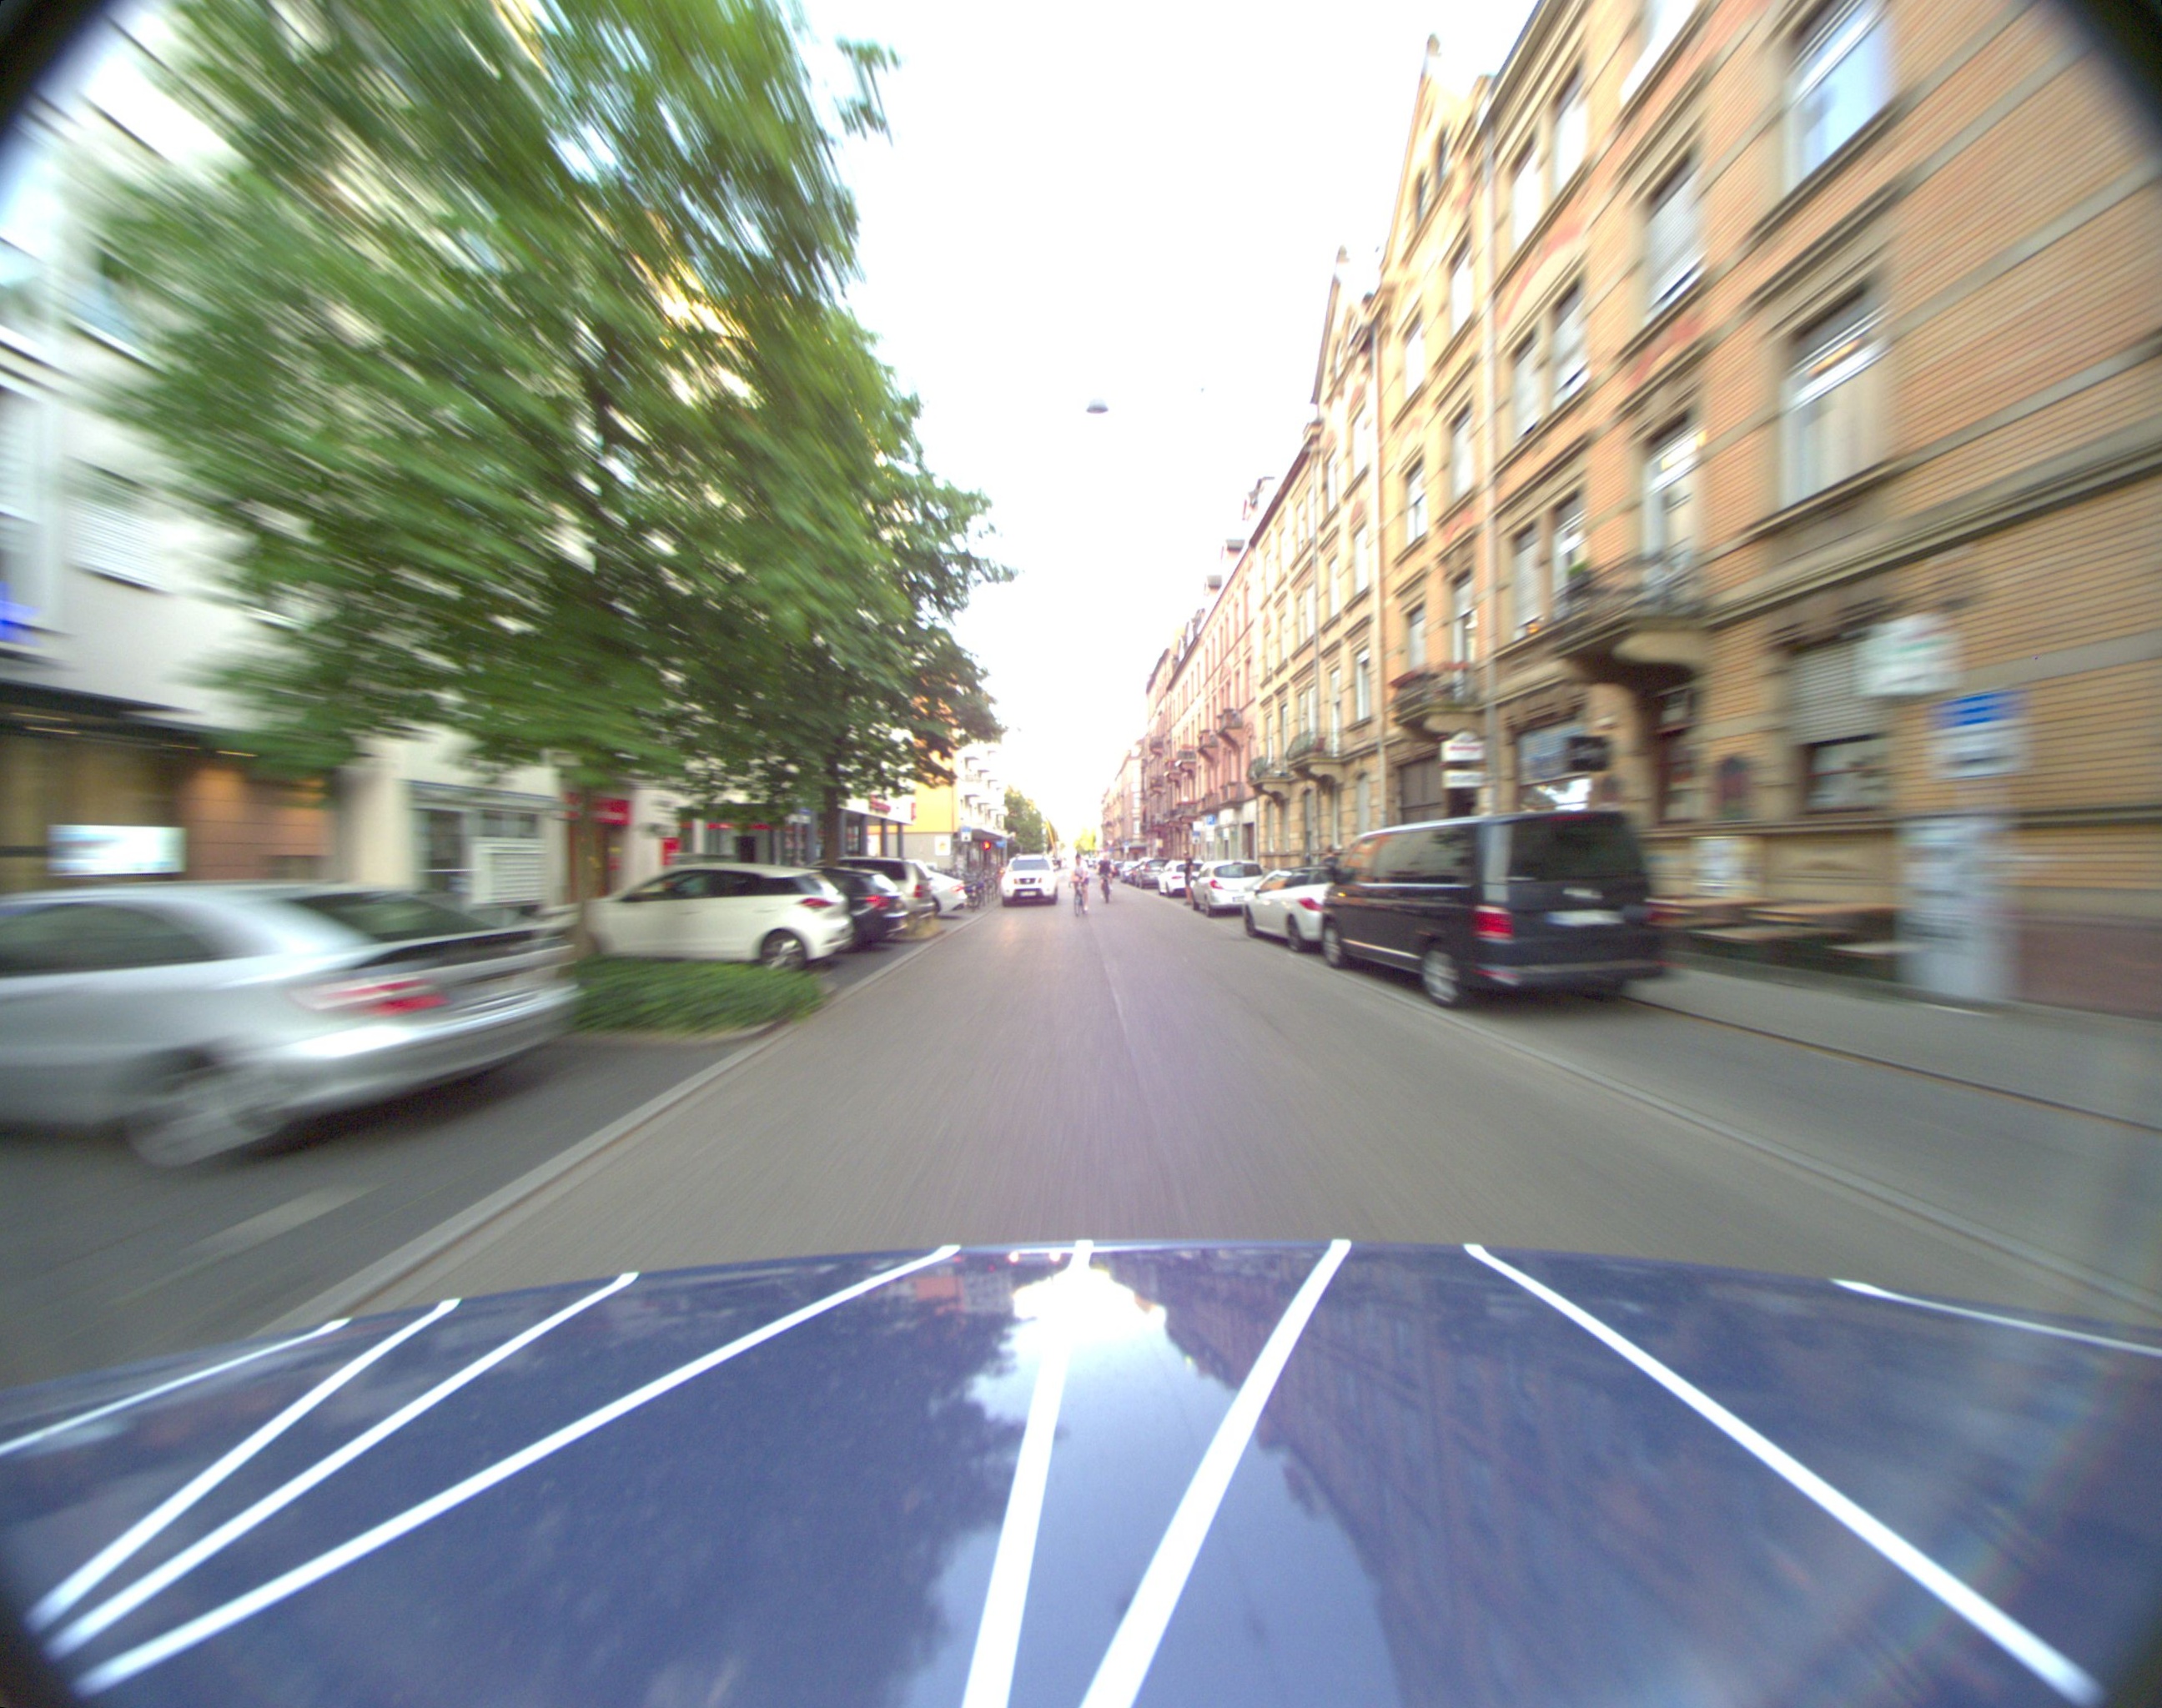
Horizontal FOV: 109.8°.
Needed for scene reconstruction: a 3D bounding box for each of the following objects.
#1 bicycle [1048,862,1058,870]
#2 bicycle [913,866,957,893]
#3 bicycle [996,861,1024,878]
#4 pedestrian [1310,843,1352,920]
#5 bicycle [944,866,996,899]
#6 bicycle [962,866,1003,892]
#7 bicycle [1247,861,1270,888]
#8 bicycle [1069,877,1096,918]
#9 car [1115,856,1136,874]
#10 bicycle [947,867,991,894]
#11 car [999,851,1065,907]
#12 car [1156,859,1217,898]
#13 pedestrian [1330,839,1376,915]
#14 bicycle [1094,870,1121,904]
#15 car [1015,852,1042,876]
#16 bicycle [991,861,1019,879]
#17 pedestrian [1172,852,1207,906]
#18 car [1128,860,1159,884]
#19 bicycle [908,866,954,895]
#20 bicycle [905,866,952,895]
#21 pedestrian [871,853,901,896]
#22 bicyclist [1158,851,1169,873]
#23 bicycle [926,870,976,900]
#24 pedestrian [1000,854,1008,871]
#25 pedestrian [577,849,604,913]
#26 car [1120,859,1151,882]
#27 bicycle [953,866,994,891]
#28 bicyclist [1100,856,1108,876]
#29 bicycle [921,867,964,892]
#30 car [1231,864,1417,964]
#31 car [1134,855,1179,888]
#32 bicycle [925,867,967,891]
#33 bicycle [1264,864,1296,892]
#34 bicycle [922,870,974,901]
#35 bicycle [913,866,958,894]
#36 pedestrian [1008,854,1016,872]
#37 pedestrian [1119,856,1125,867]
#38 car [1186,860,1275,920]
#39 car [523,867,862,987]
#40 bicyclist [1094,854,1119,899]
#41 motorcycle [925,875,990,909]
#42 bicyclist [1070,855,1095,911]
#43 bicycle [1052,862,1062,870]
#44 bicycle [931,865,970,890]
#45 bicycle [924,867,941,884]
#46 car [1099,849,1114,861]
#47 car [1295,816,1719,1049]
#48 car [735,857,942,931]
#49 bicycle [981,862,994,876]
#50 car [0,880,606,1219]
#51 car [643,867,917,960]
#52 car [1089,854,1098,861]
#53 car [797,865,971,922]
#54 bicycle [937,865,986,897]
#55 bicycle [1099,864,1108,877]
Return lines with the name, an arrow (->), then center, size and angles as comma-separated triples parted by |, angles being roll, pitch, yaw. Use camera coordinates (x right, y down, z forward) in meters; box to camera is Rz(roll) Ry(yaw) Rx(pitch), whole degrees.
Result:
bicycle -> -4.217, 1.790, 115.776 | 0.666, 1.162, 2.111 | 1, 0, -28
bicycle -> -6.220, 1.087, 32.517 | 1.726, 1.111, 0.654 | 1, 1, 3
bicycle -> -4.889, 1.042, 52.265 | 1.939, 1.128, 0.659 | 1, 1, 37
pedestrian -> 5.973, 0.652, 18.181 | 0.607, 1.762, 0.777 | -4, 0, -5
bicycle -> -4.419, 1.120, 30.276 | 1.873, 1.175, 0.743 | 3, 1, 4
bicycle -> -4.415, 1.134, 34.104 | 1.727, 1.111, 0.707 | 1, 1, -2
bicycle -> 7.580, 0.856, 32.567 | 0.517, 1.125, 1.730 | -2, 0, -1
bicycle -> 0.058, 1.199, 21.384 | 0.658, 1.012, 1.918 | -2, 1, 2
car -> 3.894, 0.964, 67.053 | 1.697, 1.412, 3.855 | -2, -1, 2
bicycle -> -4.899, 1.151, 33.310 | 1.814, 1.111, 0.707 | 1, 1, -2
car -> -1.710, 0.843, 28.332 | 1.915, 1.842, 5.270 | -1, 0, 2
car -> 4.177, 0.933, 30.734 | 1.762, 1.403, 4.508 | -2, -1, -1
pedestrian -> 6.596, 0.558, 18.440 | 0.581, 1.761, 0.997 | -4, -1, -5
bicycle -> 0.913, 1.147, 27.050 | 0.794, 1.132, 2.343 | -2, -1, -1
car -> -4.386, 0.842, 64.486 | 1.964, 1.962, 5.002 | 1, -1, 0
bicycle -> -5.159, 1.063, 51.320 | 1.939, 1.128, 0.659 | 1, 1, 37
pedestrian -> 3.585, 0.818, 25.083 | 1.020, 1.745, 0.556 | -1, 1, 23
car -> 3.834, 1.083, 46.838 | 1.589, 1.412, 3.696 | -2, -1, 0
bicycle -> -6.086, 1.059, 30.866 | 1.727, 1.111, 0.653 | 1, 1, -4
bicycle -> -6.026, 1.048, 30.145 | 1.727, 1.111, 0.653 | 1, 1, -4
pedestrian -> -8.041, 0.844, 31.288 | 0.915, 1.712, 0.774 | 2, -2, -37
bicyclist -> 6.643, 0.640, 61.233 | 0.709, 1.720, 0.843 | -1, 1, 11
bicycle -> -4.955, 1.170, 28.935 | 1.723, 1.025, 0.667 | 3, 1, 2
pedestrian -> -7.650, 0.883, 75.351 | 0.710, 1.656, 0.744 | 0, 1, -1
pedestrian -> -13.864, 0.749, 21.477 | 0.588, 1.743, 0.626 | -3, 2, -33
car -> 3.743, 1.117, 52.874 | 1.727, 1.412, 4.581 | -2, 0, -1
bicycle -> -4.928, 1.126, 34.960 | 1.726, 1.111, 0.707 | 1, 1, 3
bicyclist -> 1.877, 0.995, 62.879 | 0.646, 1.611, 0.918 | 1, 0, 3
bicycle -> -6.128, 1.136, 33.676 | 1.726, 1.048, 0.654 | 1, 1, 3
car -> 4.224, 0.965, 14.046 | 1.788, 1.414, 4.484 | -3, 0, -2
car -> 4.026, 0.909, 41.148 | 1.858, 1.624, 4.446 | -2, -1, -1
bicycle -> -6.099, 1.137, 34.348 | 1.726, 1.048, 0.654 | 1, 1, 3
bicycle -> 7.586, 0.895, 29.000 | 0.594, 1.021, 1.623 | -2, 0, -8
bicycle -> -4.963, 1.170, 28.315 | 1.776, 1.016, 0.565 | 3, 1, 2
bicycle -> -6.107, 1.080, 31.948 | 1.726, 1.111, 0.654 | 1, 1, 3
pedestrian -> -6.866, 0.874, 75.179 | 0.710, 1.818, 0.860 | 0, 1, -1
pedestrian -> 6.265, 1.147, 116.647 | 0.654, 1.768, 0.693 | -2, -1, 17
car -> 4.101, 0.941, 21.474 | 1.721, 1.449, 4.000 | -3, 0, 1
car -> -5.200, 0.970, 10.632 | 3.805, 1.444, 1.734 | 2, 0, -6
bicyclist -> 0.900, 0.792, 27.055 | 0.794, 1.562, 0.826 | -2, 0, -1
motorcycle -> -4.102, 1.267, 25.262 | 2.066, 1.072, 0.663 | 1, 1, -16
bicyclist -> 0.054, 0.800, 21.393 | 0.650, 1.500, 0.953 | -2, 1, 2
bicycle -> -3.648, 1.796, 115.657 | 0.666, 1.162, 2.111 | 1, 0, -28
bicycle -> -6.073, 1.097, 35.374 | 1.728, 1.125, 0.578 | 1, 1, -12
bicycle -> -9.653, 1.385, 49.433 | 0.564, 1.061, 1.964 | 0, 1, 4
car -> 4.193, 0.156, 124.730 | 2.141, 1.946, 4.768 | -2, 0, -2
car -> 4.409, 0.688, 9.060 | 1.999, 1.912, 4.950 | -3, 0, -3
car -> -5.738, 0.929, 18.375 | 4.410, 1.638, 1.746 | 1, 0, -1
bicycle -> -8.189, 1.311, 66.582 | 0.913, 1.189, 1.709 | 1, 0, -14
car -> -5.515, 0.956, 4.583 | 4.096, 1.444, 1.883 | 2, 0, 2
car -> -5.028, 0.981, 13.154 | 3.998, 1.447, 1.828 | 1, 0, -3
car -> 3.143, 0.829, 184.545 | 1.998, 1.729, 4.000 | -2, 1, 3
car -> -5.337, 1.063, 21.090 | 4.437, 1.447, 1.778 | 1, 0, -7
bicycle -> -4.896, 1.090, 31.147 | 1.791, 1.175, 0.734 | 3, 1, 10
bicycle -> 1.884, 1.381, 63.078 | 0.646, 1.074, 2.169 | 1, 0, 3
